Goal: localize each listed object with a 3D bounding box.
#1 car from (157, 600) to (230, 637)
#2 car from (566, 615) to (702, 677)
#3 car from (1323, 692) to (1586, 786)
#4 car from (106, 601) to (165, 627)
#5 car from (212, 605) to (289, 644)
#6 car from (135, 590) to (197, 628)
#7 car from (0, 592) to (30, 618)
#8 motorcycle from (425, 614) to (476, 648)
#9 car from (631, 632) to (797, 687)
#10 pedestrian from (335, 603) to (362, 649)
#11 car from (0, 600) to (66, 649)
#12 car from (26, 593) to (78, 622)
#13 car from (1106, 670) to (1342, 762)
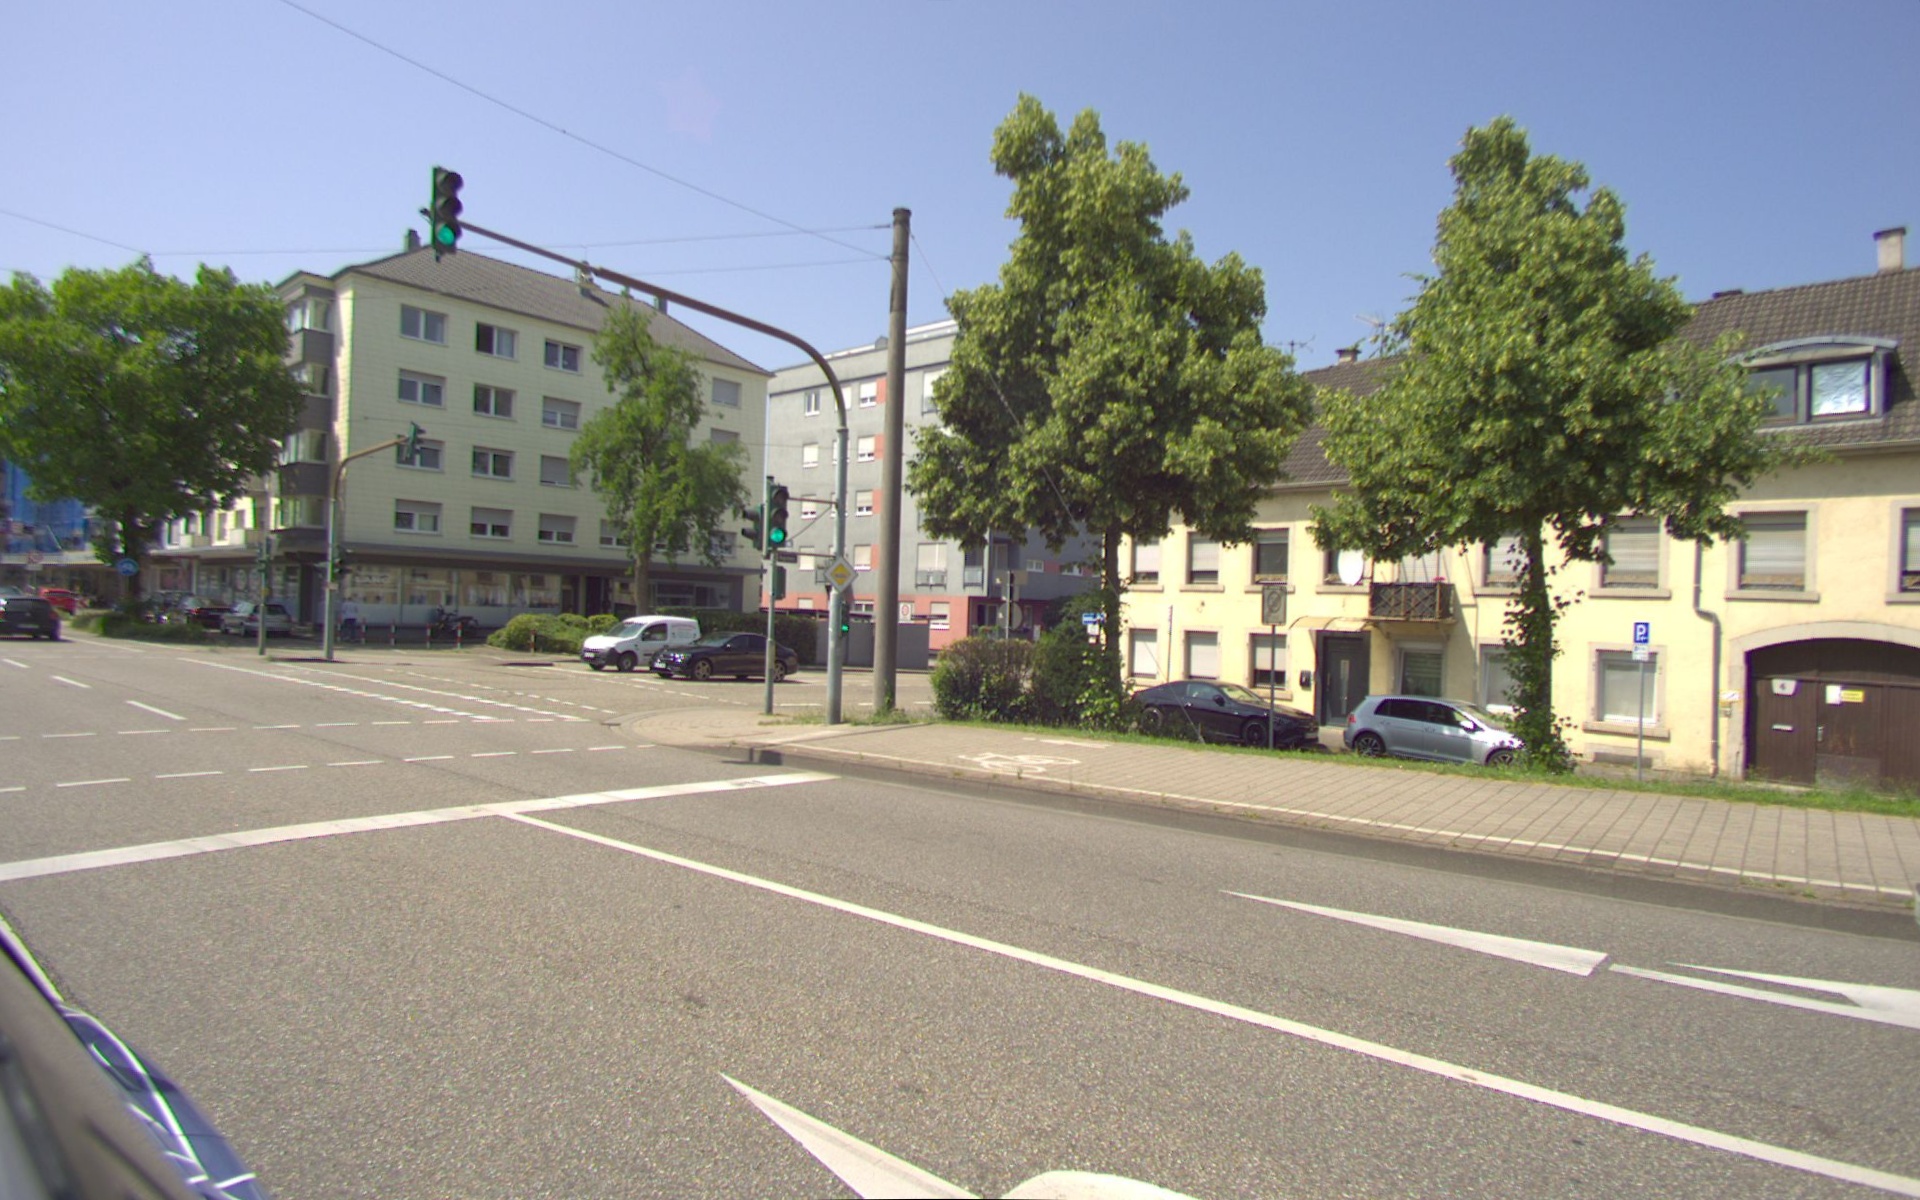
[{"bbox_3d":[-35.730,0.856,47.128,4.835,1.581,1.606,1,-1,40],"label":"car"},{"bbox_3d":[-10.340,1.504,32.298,1.891,1.748,3.651,1,-4,37],"label":"car"},{"bbox_3d":[9.847,2.698,20.402,1.755,1.443,4.434,5,-4,-43],"label":"car"},{"bbox_3d":[-44.459,0.734,54.545,3.857,1.296,1.683,1,0,39],"label":"car"},{"bbox_3d":[-29.598,1.004,42.179,3.936,1.470,1.567,1,-1,39],"label":"car"},{"bbox_3d":[-40.135,0.444,51.135,3.856,1.853,1.623,1,-1,39],"label":"car"},{"bbox_3d":[-59.770,0.282,63.041,4.326,1.531,1.890,1,-2,37],"label":"car"},{"bbox_3d":[-22.926,1.394,45.537,0.714,1.431,1.895,3,1,40],"label":"motorcycle"},{"bbox_3d":[-7.325,1.826,30.557,2.112,1.411,4.564,1,-4,35],"label":"car"},{"bbox_3d":[-24.547,1.045,40.633,0.742,1.773,0.621,2,-1,39],"label":"pedestrian"},{"bbox_3d":[-29.987,0.717,31.902,4.042,1.410,1.819,1,-3,37],"label":"car"},{"bbox_3d":[-50.952,0.422,56.784,3.631,1.479,1.618,1,-2,40],"label":"car"},{"bbox_3d":[6.167,2.682,24.224,1.793,1.640,5.292,6,-3,-43],"label":"car"}]
